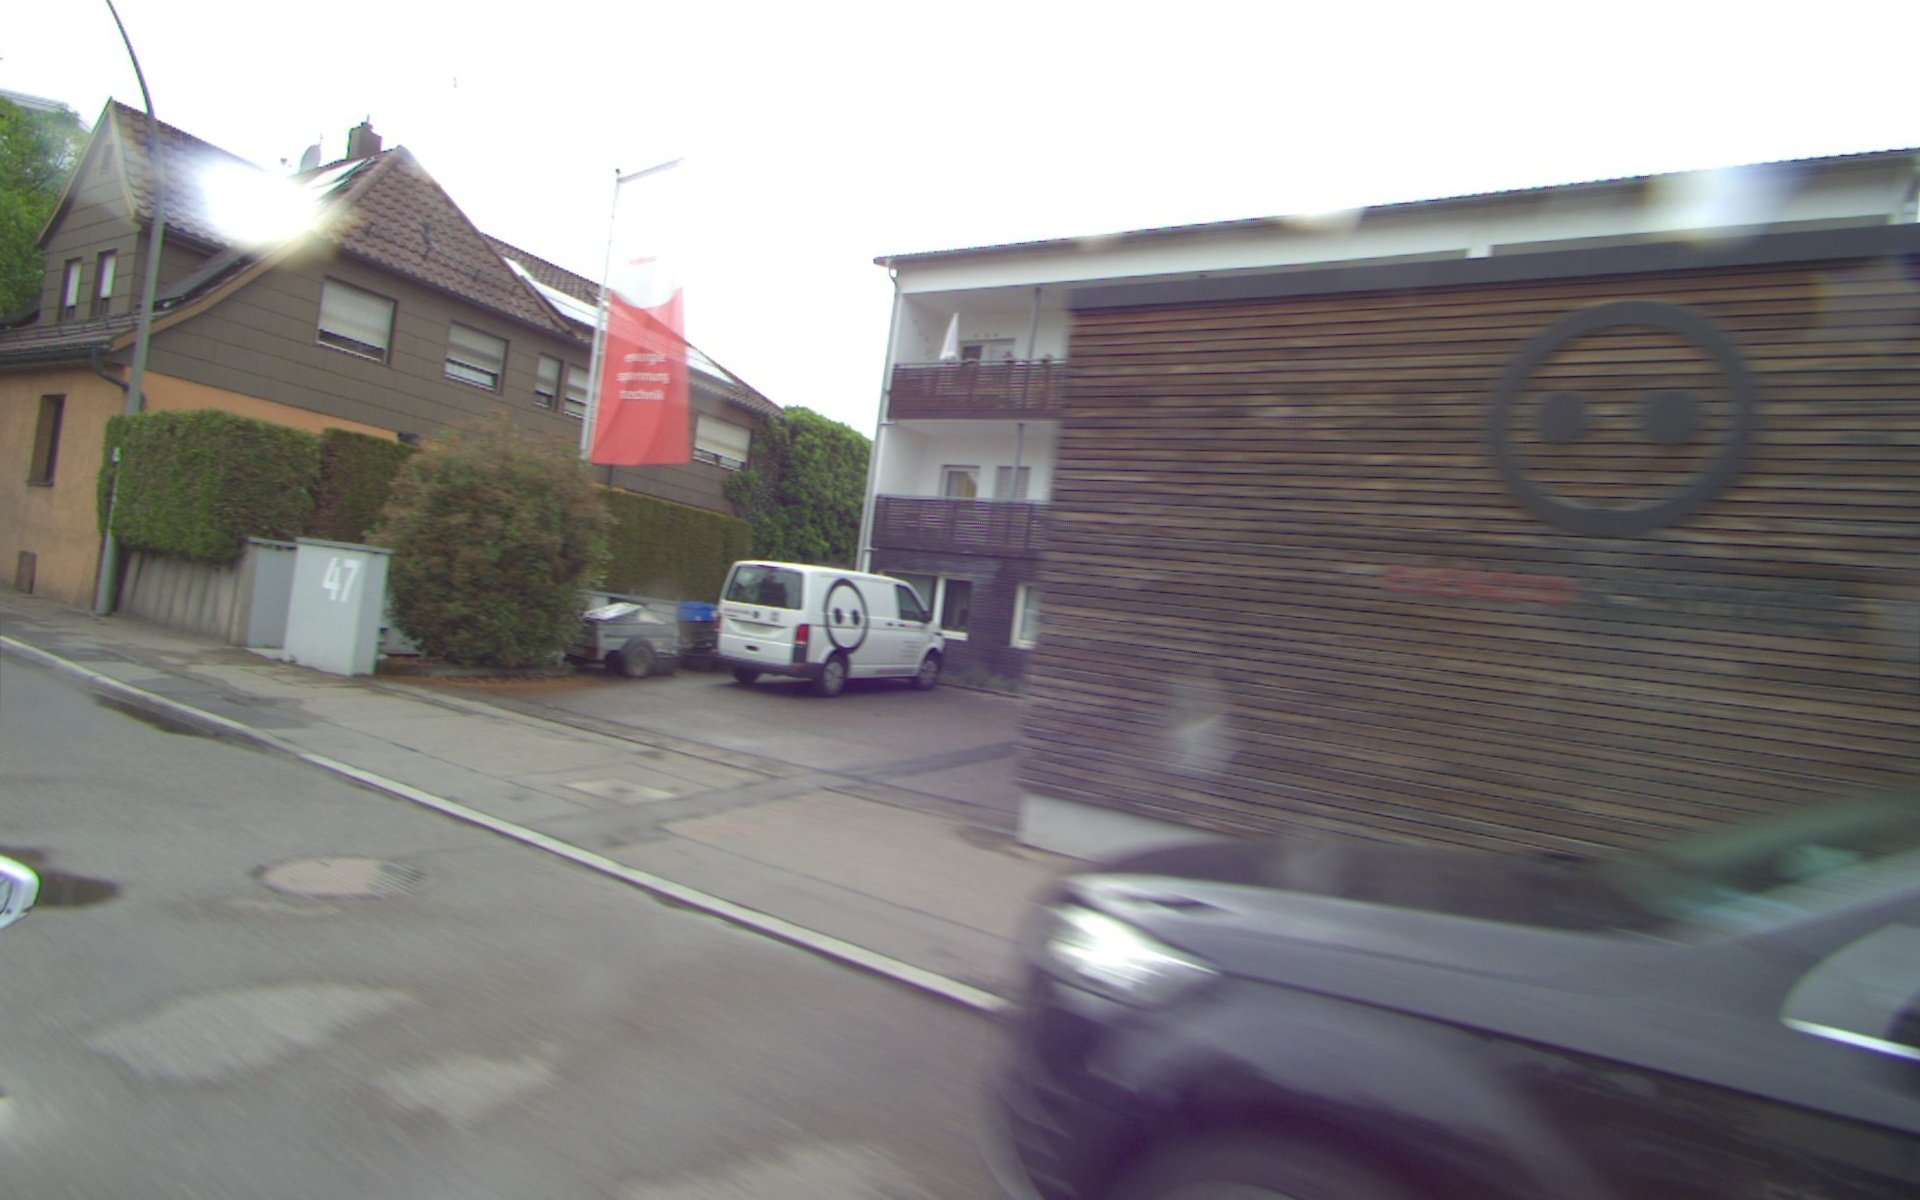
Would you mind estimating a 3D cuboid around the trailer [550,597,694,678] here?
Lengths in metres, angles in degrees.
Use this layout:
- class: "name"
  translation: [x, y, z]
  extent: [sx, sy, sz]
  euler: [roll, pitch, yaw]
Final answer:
- class: "trailer"
  translation: [-5.066, 0.546, 15.216]
  extent: [0.904, 1.048, 1.917]
  euler: [7, 2, 26]

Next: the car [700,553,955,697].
- class: "car"
  translation: [-2.023, 0.450, 16.809]
  extent: [1.828, 1.923, 4.467]
  euler: [7, 1, 28]

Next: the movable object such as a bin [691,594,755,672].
- class: "movable object such as a bin"
  translation: [-4.106, 0.574, 17.422]
  extent: [0.796, 1.202, 0.532]
  euler: [11, 3, 32]

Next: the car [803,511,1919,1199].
- class: "car"
  translation: [2.181, 1.032, 1.904]
  extent: [4.482, 1.680, 2.097]
  euler: [8, -2, 31]

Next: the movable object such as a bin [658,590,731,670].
- class: "movable object such as a bin"
  translation: [-4.464, 0.504, 16.942]
  extent: [0.797, 1.202, 0.690]
  euler: [11, 3, 33]
